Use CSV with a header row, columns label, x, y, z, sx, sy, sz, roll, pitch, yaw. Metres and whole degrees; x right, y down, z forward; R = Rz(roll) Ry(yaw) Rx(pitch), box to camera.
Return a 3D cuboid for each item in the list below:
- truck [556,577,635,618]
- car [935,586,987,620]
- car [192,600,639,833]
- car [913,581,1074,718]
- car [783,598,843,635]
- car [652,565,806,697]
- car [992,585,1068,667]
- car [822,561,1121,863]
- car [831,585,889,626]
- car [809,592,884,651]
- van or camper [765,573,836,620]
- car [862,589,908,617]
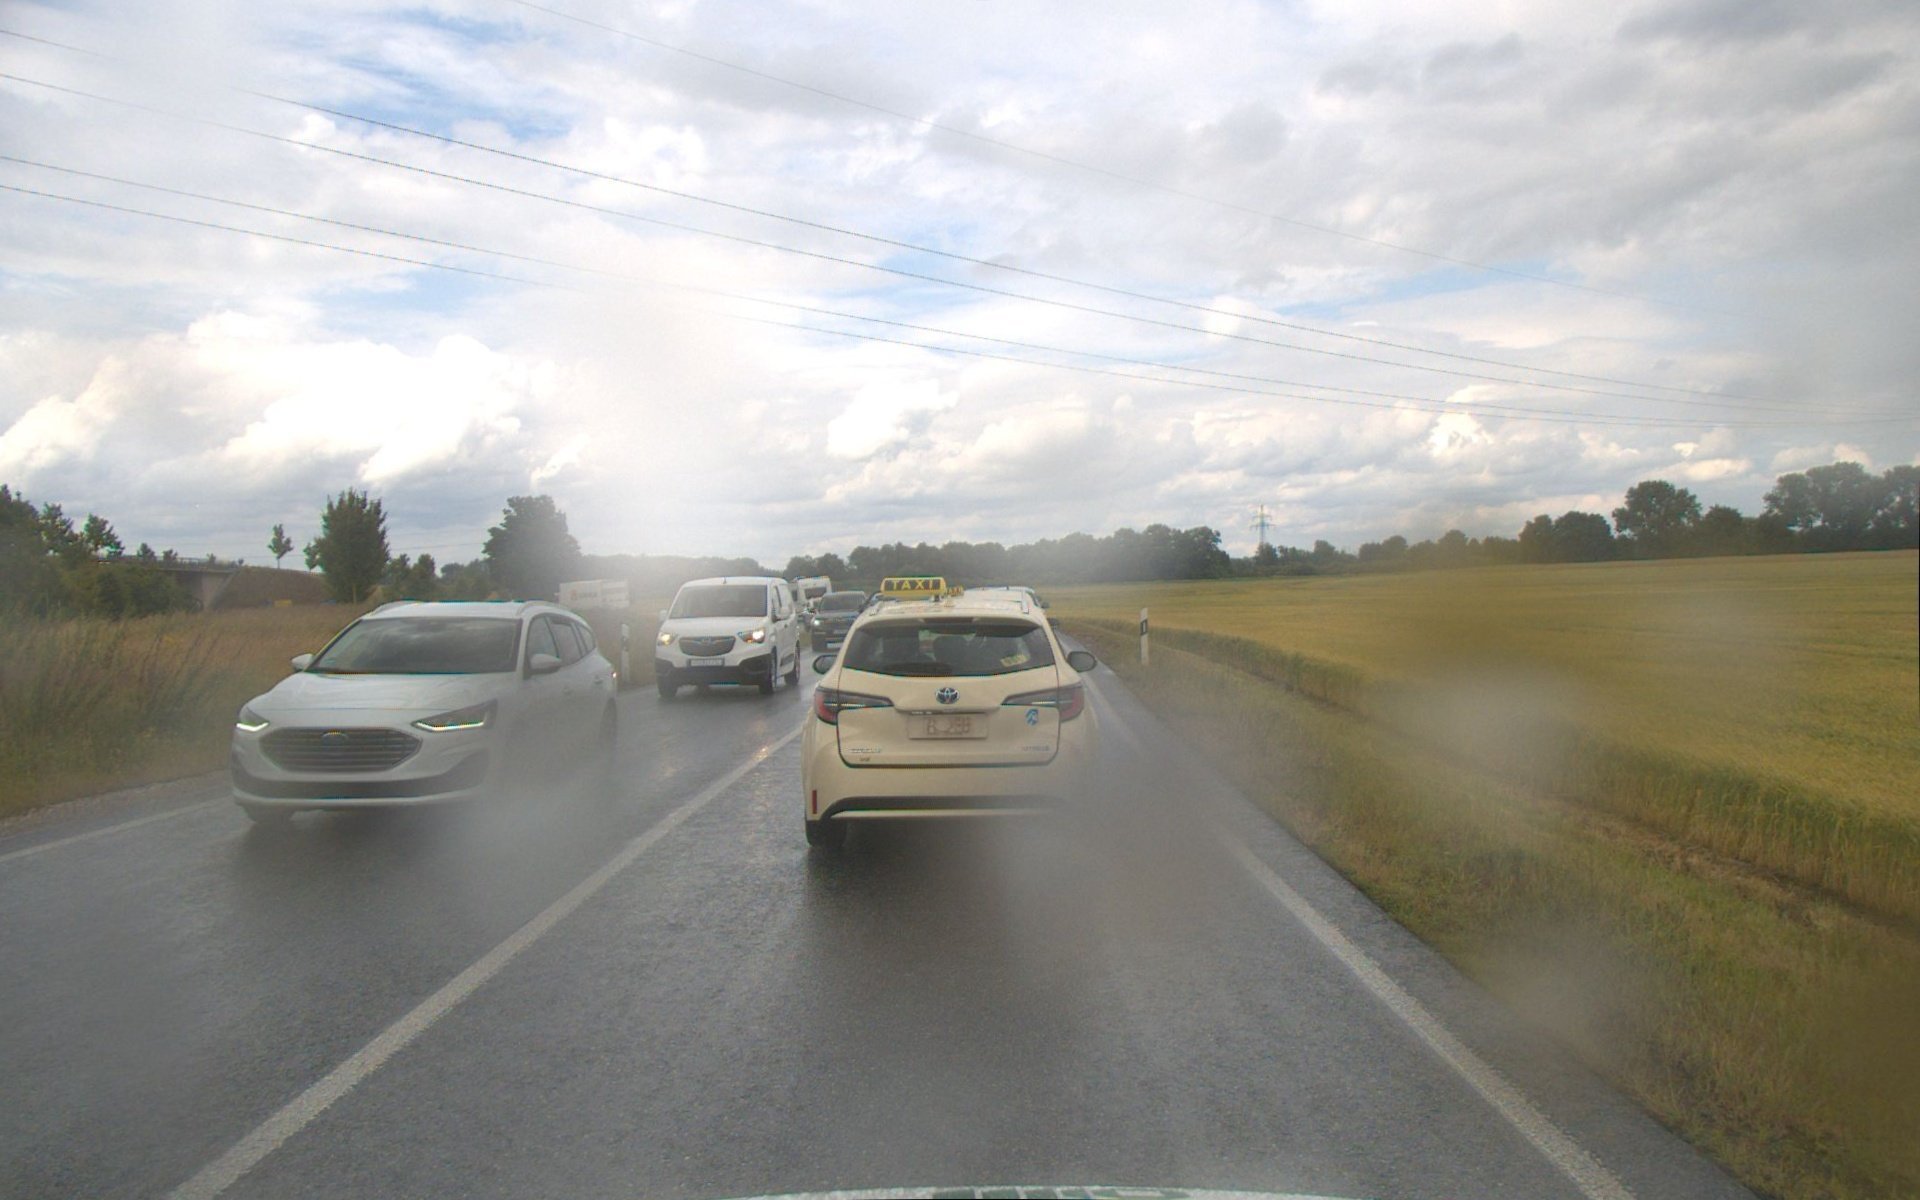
label,x,y,z,sx,sy,sz,roll,pitch,yaw
truck,-30.514,-0.185,138.109,2.995,3.266,8.112,2,-2,-40
car,0.001,0.169,74.775,1.922,1.438,4.386,1,-1,-6
car,-3.733,0.727,12.212,1.806,1.412,4.287,0,-1,1
car,0.380,0.562,21.006,1.803,1.518,4.608,1,0,0
car,-6.993,0.756,78.482,1.898,1.660,4.698,-1,0,-17
car,-3.557,0.471,26.212,1.806,1.888,4.446,1,0,0
car,1.521,0.587,36.697,1.579,1.688,3.738,1,-1,1
car,0.061,0.635,10.693,1.580,1.590,3.738,1,-1,0
car,-3.917,0.214,64.375,1.815,1.473,4.081,-1,0,-10
car,-3.358,0.616,49.739,1.810,1.660,4.535,-1,0,2
van or camper,-10.492,-0.239,108.186,2.505,2.946,6.687,1,0,-25
car,-4.193,0.196,91.912,1.754,1.438,3.723,1,-1,-15
